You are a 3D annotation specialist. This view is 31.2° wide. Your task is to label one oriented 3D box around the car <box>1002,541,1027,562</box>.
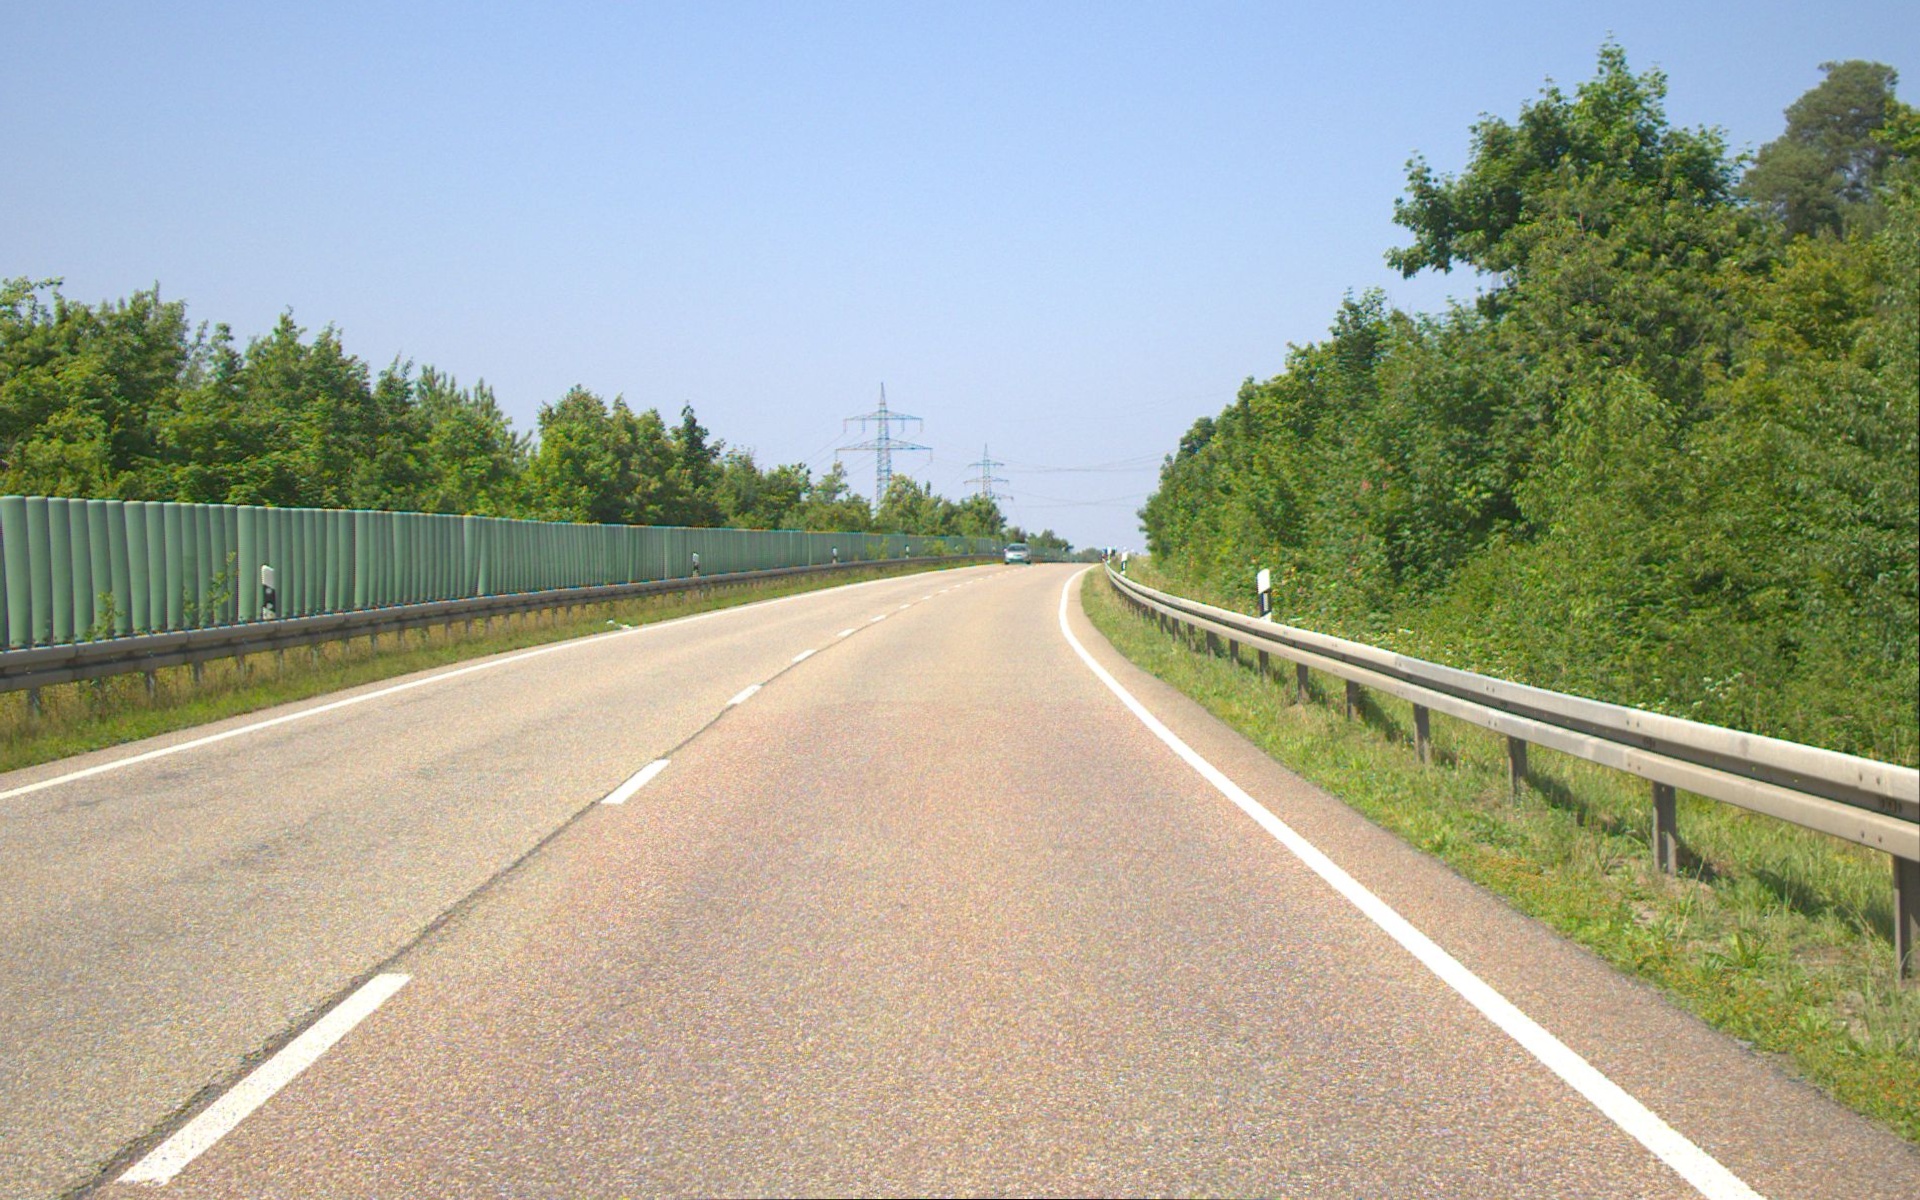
[{"bbox_3d":[3.924,-3.496,247.007,1.720,1.496,4.248,0,1,2],"label":"car"}]
